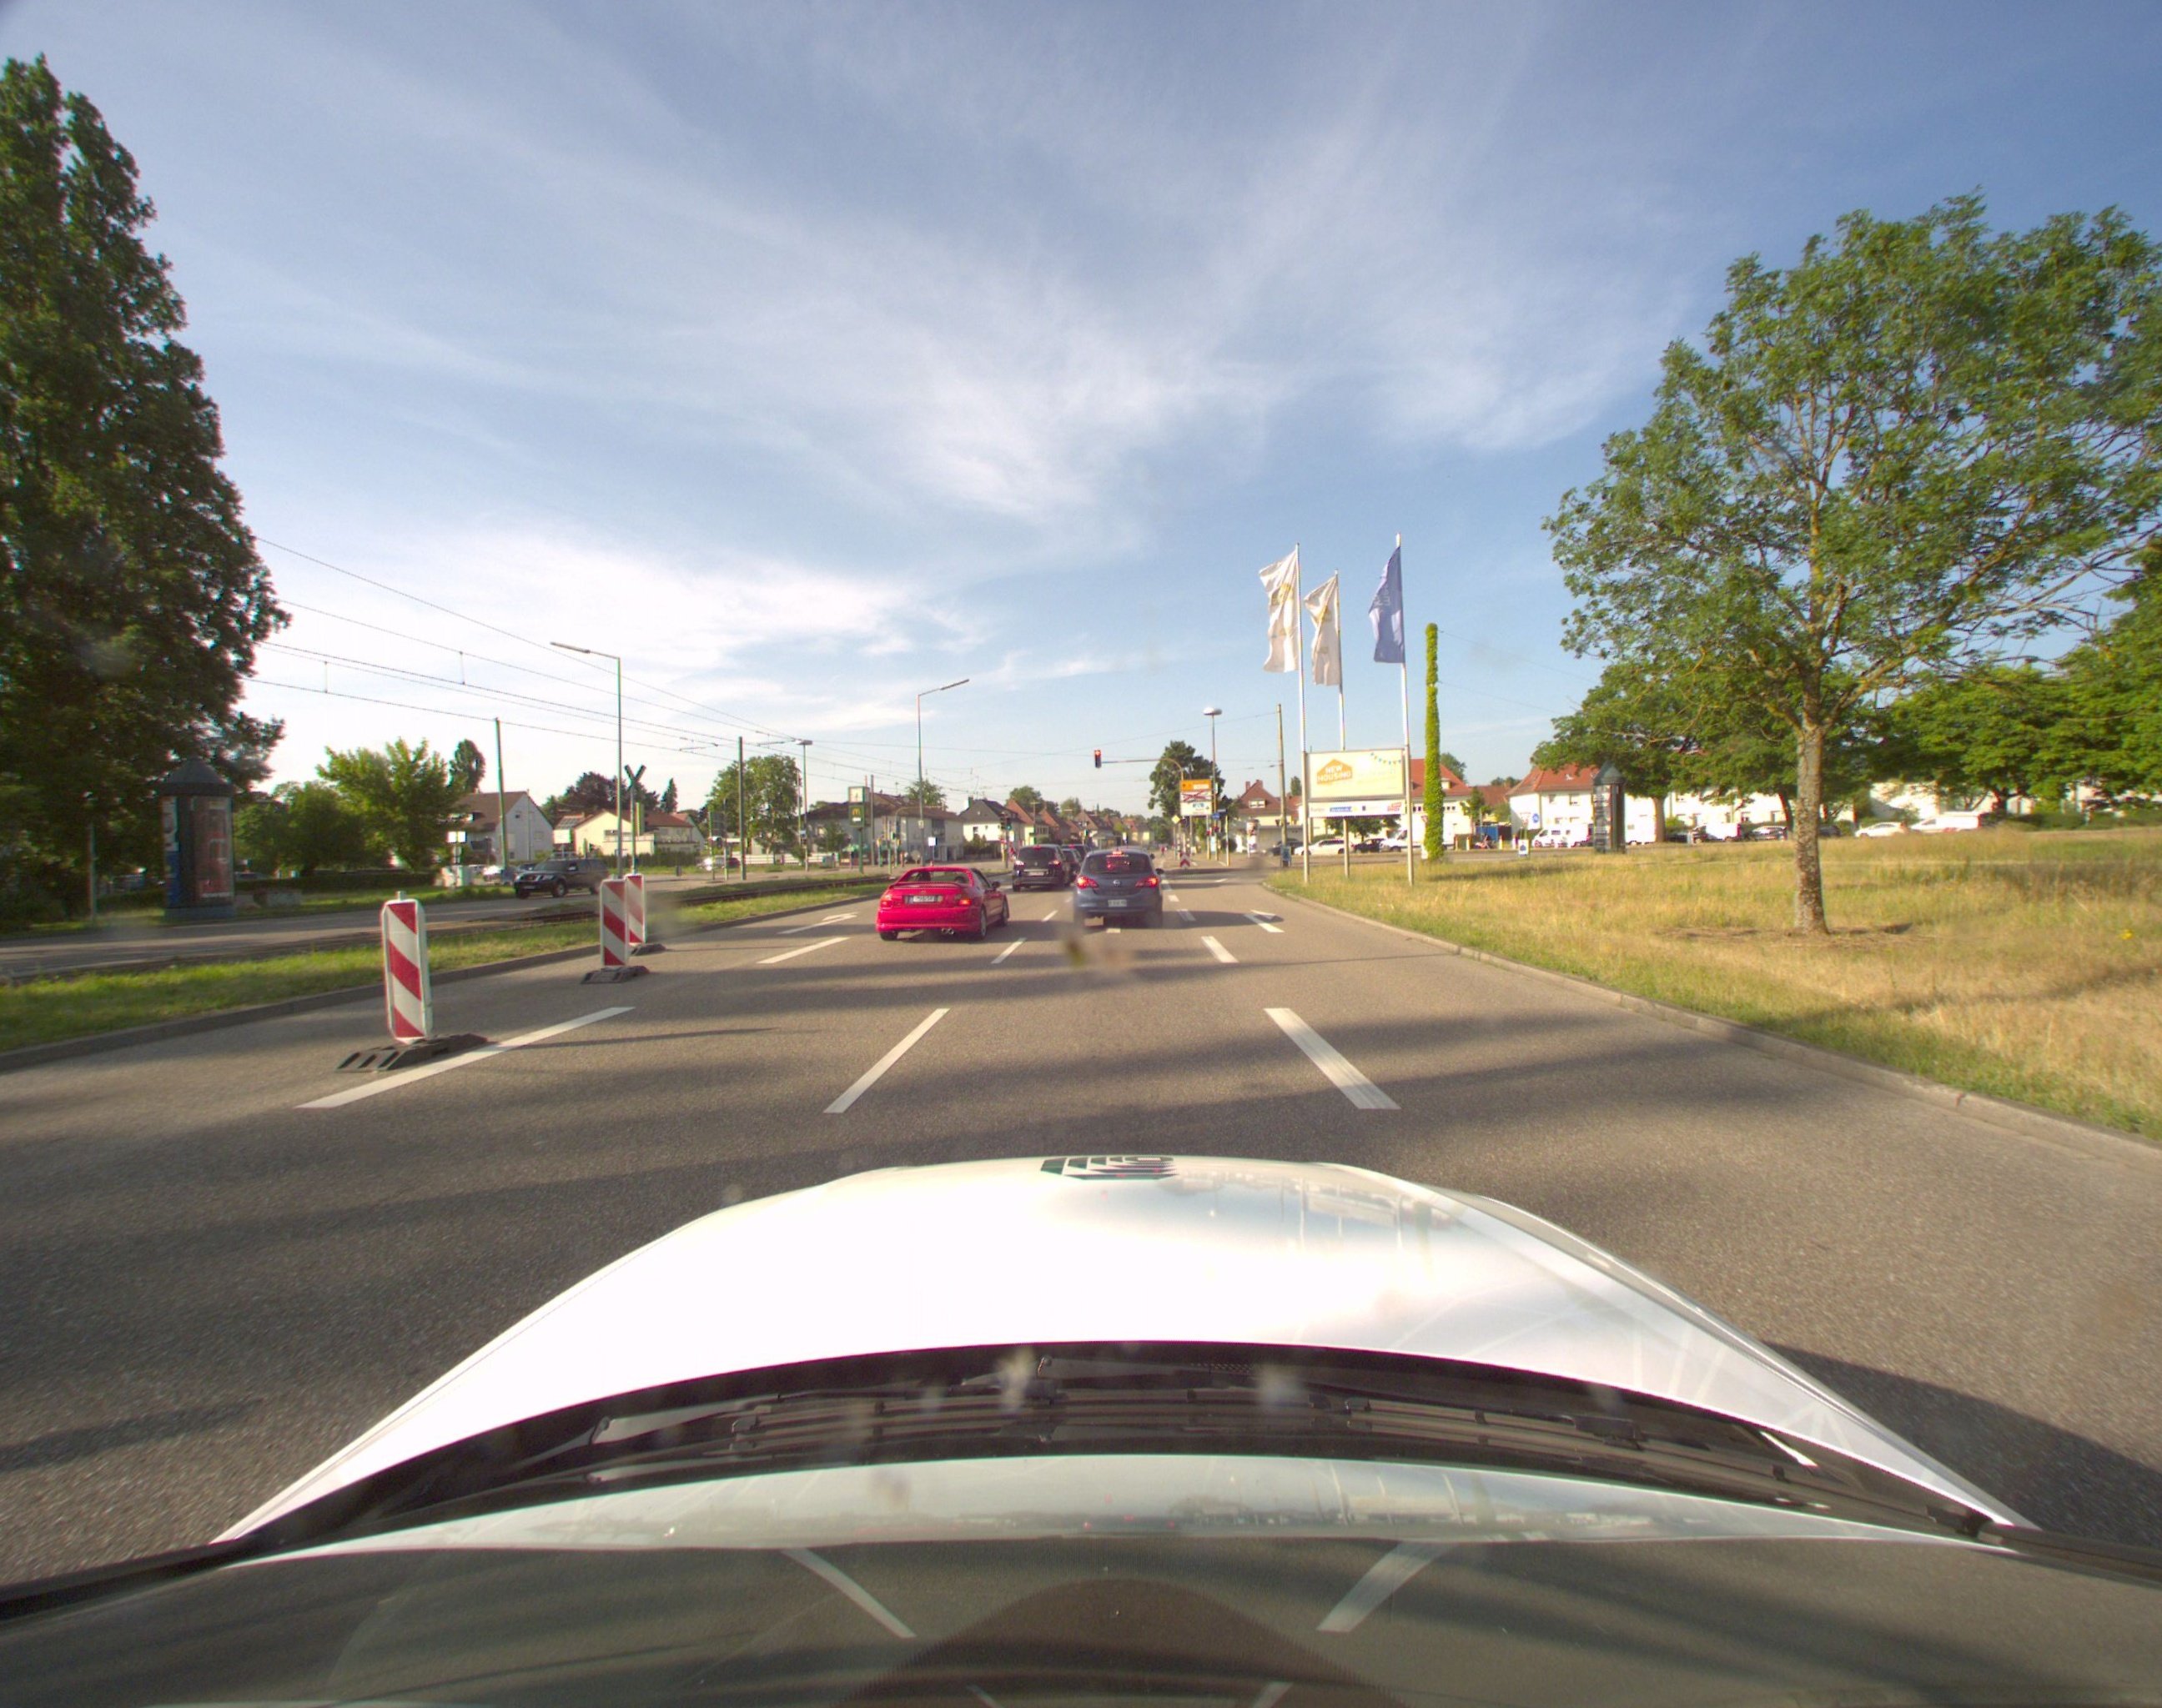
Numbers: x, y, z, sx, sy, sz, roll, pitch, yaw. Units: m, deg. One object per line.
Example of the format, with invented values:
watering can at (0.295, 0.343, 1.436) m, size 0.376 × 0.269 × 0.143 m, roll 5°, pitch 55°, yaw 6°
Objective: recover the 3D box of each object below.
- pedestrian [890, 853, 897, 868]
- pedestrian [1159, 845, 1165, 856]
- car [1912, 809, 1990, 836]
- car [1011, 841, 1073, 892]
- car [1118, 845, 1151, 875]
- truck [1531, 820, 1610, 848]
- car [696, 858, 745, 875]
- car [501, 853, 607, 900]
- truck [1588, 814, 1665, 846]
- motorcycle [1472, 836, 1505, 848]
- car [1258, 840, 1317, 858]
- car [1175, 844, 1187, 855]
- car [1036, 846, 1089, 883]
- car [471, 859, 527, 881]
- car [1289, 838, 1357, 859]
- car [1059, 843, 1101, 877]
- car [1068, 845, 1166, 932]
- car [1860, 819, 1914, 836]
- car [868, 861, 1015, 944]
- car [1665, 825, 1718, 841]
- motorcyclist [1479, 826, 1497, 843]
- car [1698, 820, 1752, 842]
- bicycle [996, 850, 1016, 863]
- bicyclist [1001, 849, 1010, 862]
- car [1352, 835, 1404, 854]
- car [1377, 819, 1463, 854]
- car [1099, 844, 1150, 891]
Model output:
pedestrian at (-19.936, 0.725, 86.498) m, size 0.510 × 1.599 × 0.540 m, roll -2°, pitch 0°, yaw 2°
pedestrian at (11.012, -0.421, 110.394) m, size 0.748 × 1.499 × 0.830 m, roll 0°, pitch 0°, yaw 11°
car at (83.101, -2.986, 77.815) m, size 2.010 × 2.232 × 4.921 m, roll -2°, pitch 0°, yaw -40°
car at (-1.326, 0.400, 29.330) m, size 1.756 × 1.670 × 4.088 m, roll -1°, pitch 1°, yaw 3°
car at (2.845, 0.272, 43.240) m, size 1.649 × 1.443 × 4.019 m, roll -2°, pitch 0°, yaw 4°
truck at (48.067, -1.940, 80.141) m, size 2.284 × 2.524 × 6.299 m, roll -2°, pitch 1°, yaw -29°
car at (-35.665, 1.247, 80.584) m, size 3.960 × 1.486 × 2.007 m, roll -2°, pitch 0°, yaw 11°
car at (-25.540, 1.035, 39.734) m, size 1.990 × 2.013 × 5.348 m, roll -2°, pitch 1°, yaw -5°
truck at (53.827, -2.341, 80.503) m, size 1.906 × 2.854 × 6.007 m, roll -2°, pitch 0°, yaw -40°
motorcycle at (32.714, -0.985, 65.432) m, size 2.260 × 0.866 × 0.692 m, roll -2°, pitch 0°, yaw 5°
car at (18.079, -0.407, 71.389) m, size 4.798 × 1.411 × 1.719 m, roll -2°, pitch 0°, yaw 6°
car at (14.263, -0.627, 116.494) m, size 1.666 × 1.398 × 4.008 m, roll 0°, pitch 0°, yaw 7°
car at (-0.759, 0.414, 36.722) m, size 1.690 × 1.508 × 4.563 m, roll -1°, pitch 1°, yaw 7°
car at (-50.927, 1.418, 71.330) m, size 3.965 × 1.793 × 1.523 m, roll -2°, pitch 0°, yaw 7°
car at (19.990, -0.449, 67.439) m, size 5.068 × 1.563 × 1.843 m, roll -2°, pitch 0°, yaw 6°
car at (0.006, 0.270, 44.061) m, size 1.498 × 1.651 × 4.756 m, roll -2°, pitch 0°, yaw 9°
car at (0.686, 0.598, 16.808) m, size 1.735 × 1.505 × 4.223 m, roll -2°, pitch 1°, yaw 1°
car at (77.214, -2.528, 78.057) m, size 1.904 × 1.513 × 3.395 m, roll -2°, pitch 0°, yaw -36°
car at (-2.350, 0.778, 14.702) m, size 1.723 × 1.206 × 3.851 m, roll 0°, pitch 1°, yaw 4°
car at (60.090, -2.042, 80.230) m, size 1.907 × 1.456 × 3.862 m, roll -2°, pitch 0°, yaw -43°
motorcyclist at (32.686, -1.547, 65.432) m, size 1.060 × 1.352 × 0.681 m, roll -2°, pitch 0°, yaw 5°
car at (63.342, -2.269, 80.146) m, size 1.906 × 1.920 × 3.863 m, roll -2°, pitch 0°, yaw -40°
bicycle at (-7.866, 0.308, 85.239) m, size 2.069 × 1.348 × 1.107 m, roll 0°, pitch 0°, yaw -3°
bicyclist at (-7.899, 0.154, 85.229) m, size 0.882 × 1.431 × 1.135 m, roll 0°, pitch 0°, yaw -3°
car at (25.705, -0.819, 70.540) m, size 3.966 × 1.453 × 1.719 m, roll -2°, pitch 0°, yaw 7°
car at (27.687, -1.426, 66.739) m, size 6.176 × 2.583 × 2.004 m, roll -2°, pitch 0°, yaw 6°
car at (1.629, 0.457, 29.973) m, size 1.699 × 1.551 × 3.982 m, roll -2°, pitch 0°, yaw 4°
